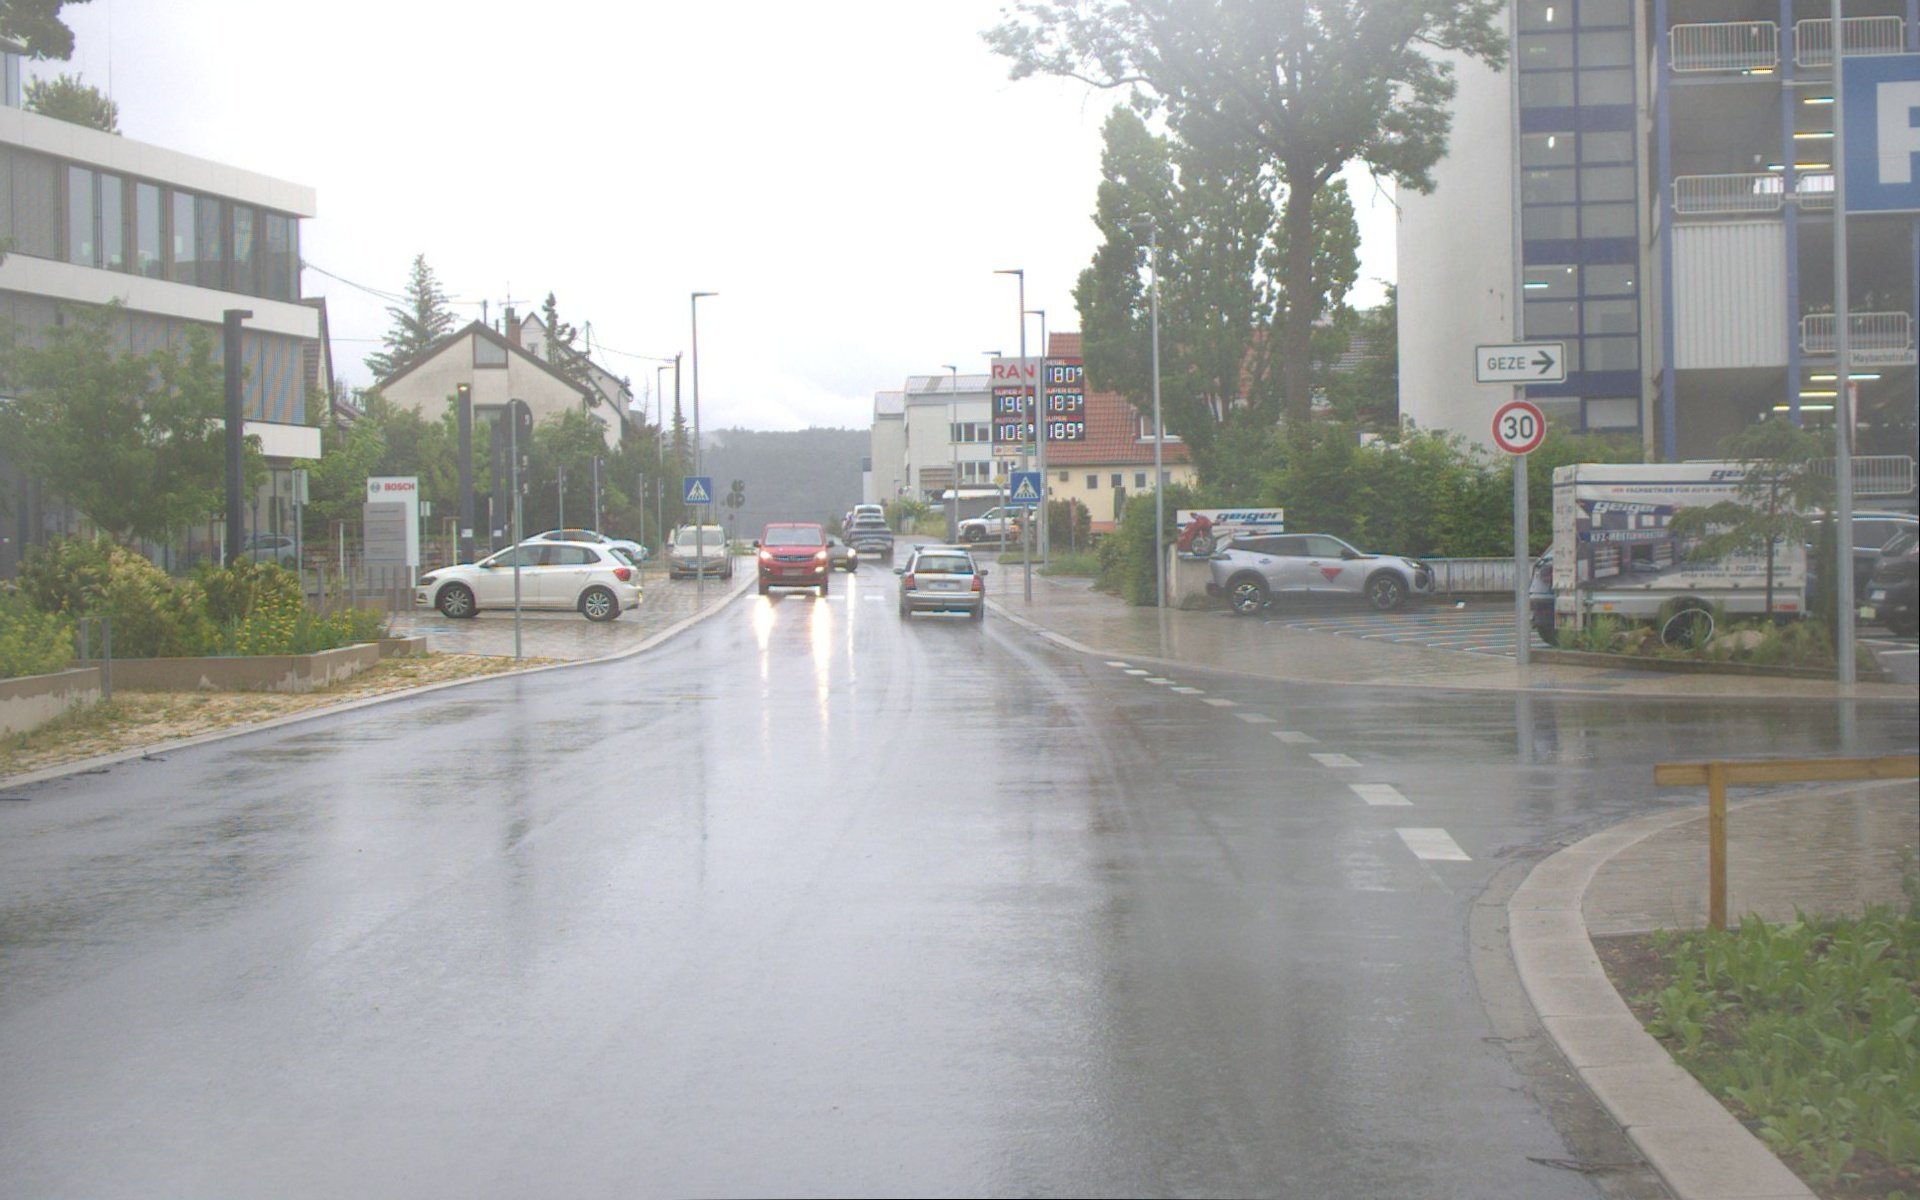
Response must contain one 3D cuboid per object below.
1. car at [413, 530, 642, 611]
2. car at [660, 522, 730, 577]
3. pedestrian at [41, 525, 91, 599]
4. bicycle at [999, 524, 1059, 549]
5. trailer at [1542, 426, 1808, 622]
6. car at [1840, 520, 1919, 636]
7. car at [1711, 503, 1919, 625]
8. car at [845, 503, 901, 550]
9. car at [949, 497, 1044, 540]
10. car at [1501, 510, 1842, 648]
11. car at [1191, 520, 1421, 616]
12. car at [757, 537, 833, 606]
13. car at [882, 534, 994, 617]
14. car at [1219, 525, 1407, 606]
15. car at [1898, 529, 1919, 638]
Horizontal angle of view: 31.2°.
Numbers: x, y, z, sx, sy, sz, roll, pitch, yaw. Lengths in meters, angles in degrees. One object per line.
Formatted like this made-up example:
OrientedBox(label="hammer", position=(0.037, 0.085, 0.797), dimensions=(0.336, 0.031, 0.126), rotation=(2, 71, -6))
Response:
OrientedBox(label="car", position=(-7.793, -0.543, 62.208), dimensions=(3.927, 1.418, 1.898), rotation=(-1, 1, -1))
OrientedBox(label="car", position=(-8.248, -1.605, 107.414), dimensions=(1.993, 1.623, 4.154), rotation=(-1, 2, -2))
OrientedBox(label="pedestrian", position=(-21.042, -0.900, 80.959), dimensions=(1.013, 1.718, 0.772), rotation=(0, 1, -4))
OrientedBox(label="bicycle", position=(3.016, -2.789, 150.635), dimensions=(0.668, 1.063, 3.629), rotation=(3, -1, -33))
OrientedBox(label="trailer", position=(8.131, -0.863, 39.245), dimensions=(2.702, 2.164, 1.548), rotation=(-1, 1, 0))
OrientedBox(label="car", position=(13.314, -0.315, 43.711), dimensions=(3.725, 1.444, 1.731), rotation=(-1, 1, -5))
OrientedBox(label="car", position=(13.074, -0.534, 48.795), dimensions=(4.354, 1.646, 1.845), rotation=(-1, 1, -4))
OrientedBox(label="car", position=(-3.590, -3.029, 141.532), dimensions=(2.154, 1.700, 4.000), rotation=(3, -1, -2))
OrientedBox(label="car", position=(1.676, -3.728, 157.205), dimensions=(4.111, 1.700, 1.789), rotation=(3, -1, -5))
OrientedBox(label="car", position=(8.593, -0.256, 41.720), dimensions=(3.725, 1.523, 1.650), rotation=(-2, 0, -2))
OrientedBox(label="car", position=(6.619, -0.616, 65.550), dimensions=(4.208, 1.644, 1.999), rotation=(-2, 1, 8))
OrientedBox(label="car", position=(-4.506, -0.805, 93.972), dimensions=(2.002, 1.811, 4.980), rotation=(-1, 1, -3))
OrientedBox(label="car", position=(-0.480, -0.478, 70.772), dimensions=(1.948, 1.550, 4.000), rotation=(3, -1, -4))
OrientedBox(label="car", position=(7.024, -0.695, 68.252), dimensions=(3.622, 1.489, 1.806), rotation=(-1, 1, 7))
OrientedBox(label="car", position=(13.400, -0.229, 41.330), dimensions=(3.725, 1.311, 1.693), rotation=(-1, 1, -5))
